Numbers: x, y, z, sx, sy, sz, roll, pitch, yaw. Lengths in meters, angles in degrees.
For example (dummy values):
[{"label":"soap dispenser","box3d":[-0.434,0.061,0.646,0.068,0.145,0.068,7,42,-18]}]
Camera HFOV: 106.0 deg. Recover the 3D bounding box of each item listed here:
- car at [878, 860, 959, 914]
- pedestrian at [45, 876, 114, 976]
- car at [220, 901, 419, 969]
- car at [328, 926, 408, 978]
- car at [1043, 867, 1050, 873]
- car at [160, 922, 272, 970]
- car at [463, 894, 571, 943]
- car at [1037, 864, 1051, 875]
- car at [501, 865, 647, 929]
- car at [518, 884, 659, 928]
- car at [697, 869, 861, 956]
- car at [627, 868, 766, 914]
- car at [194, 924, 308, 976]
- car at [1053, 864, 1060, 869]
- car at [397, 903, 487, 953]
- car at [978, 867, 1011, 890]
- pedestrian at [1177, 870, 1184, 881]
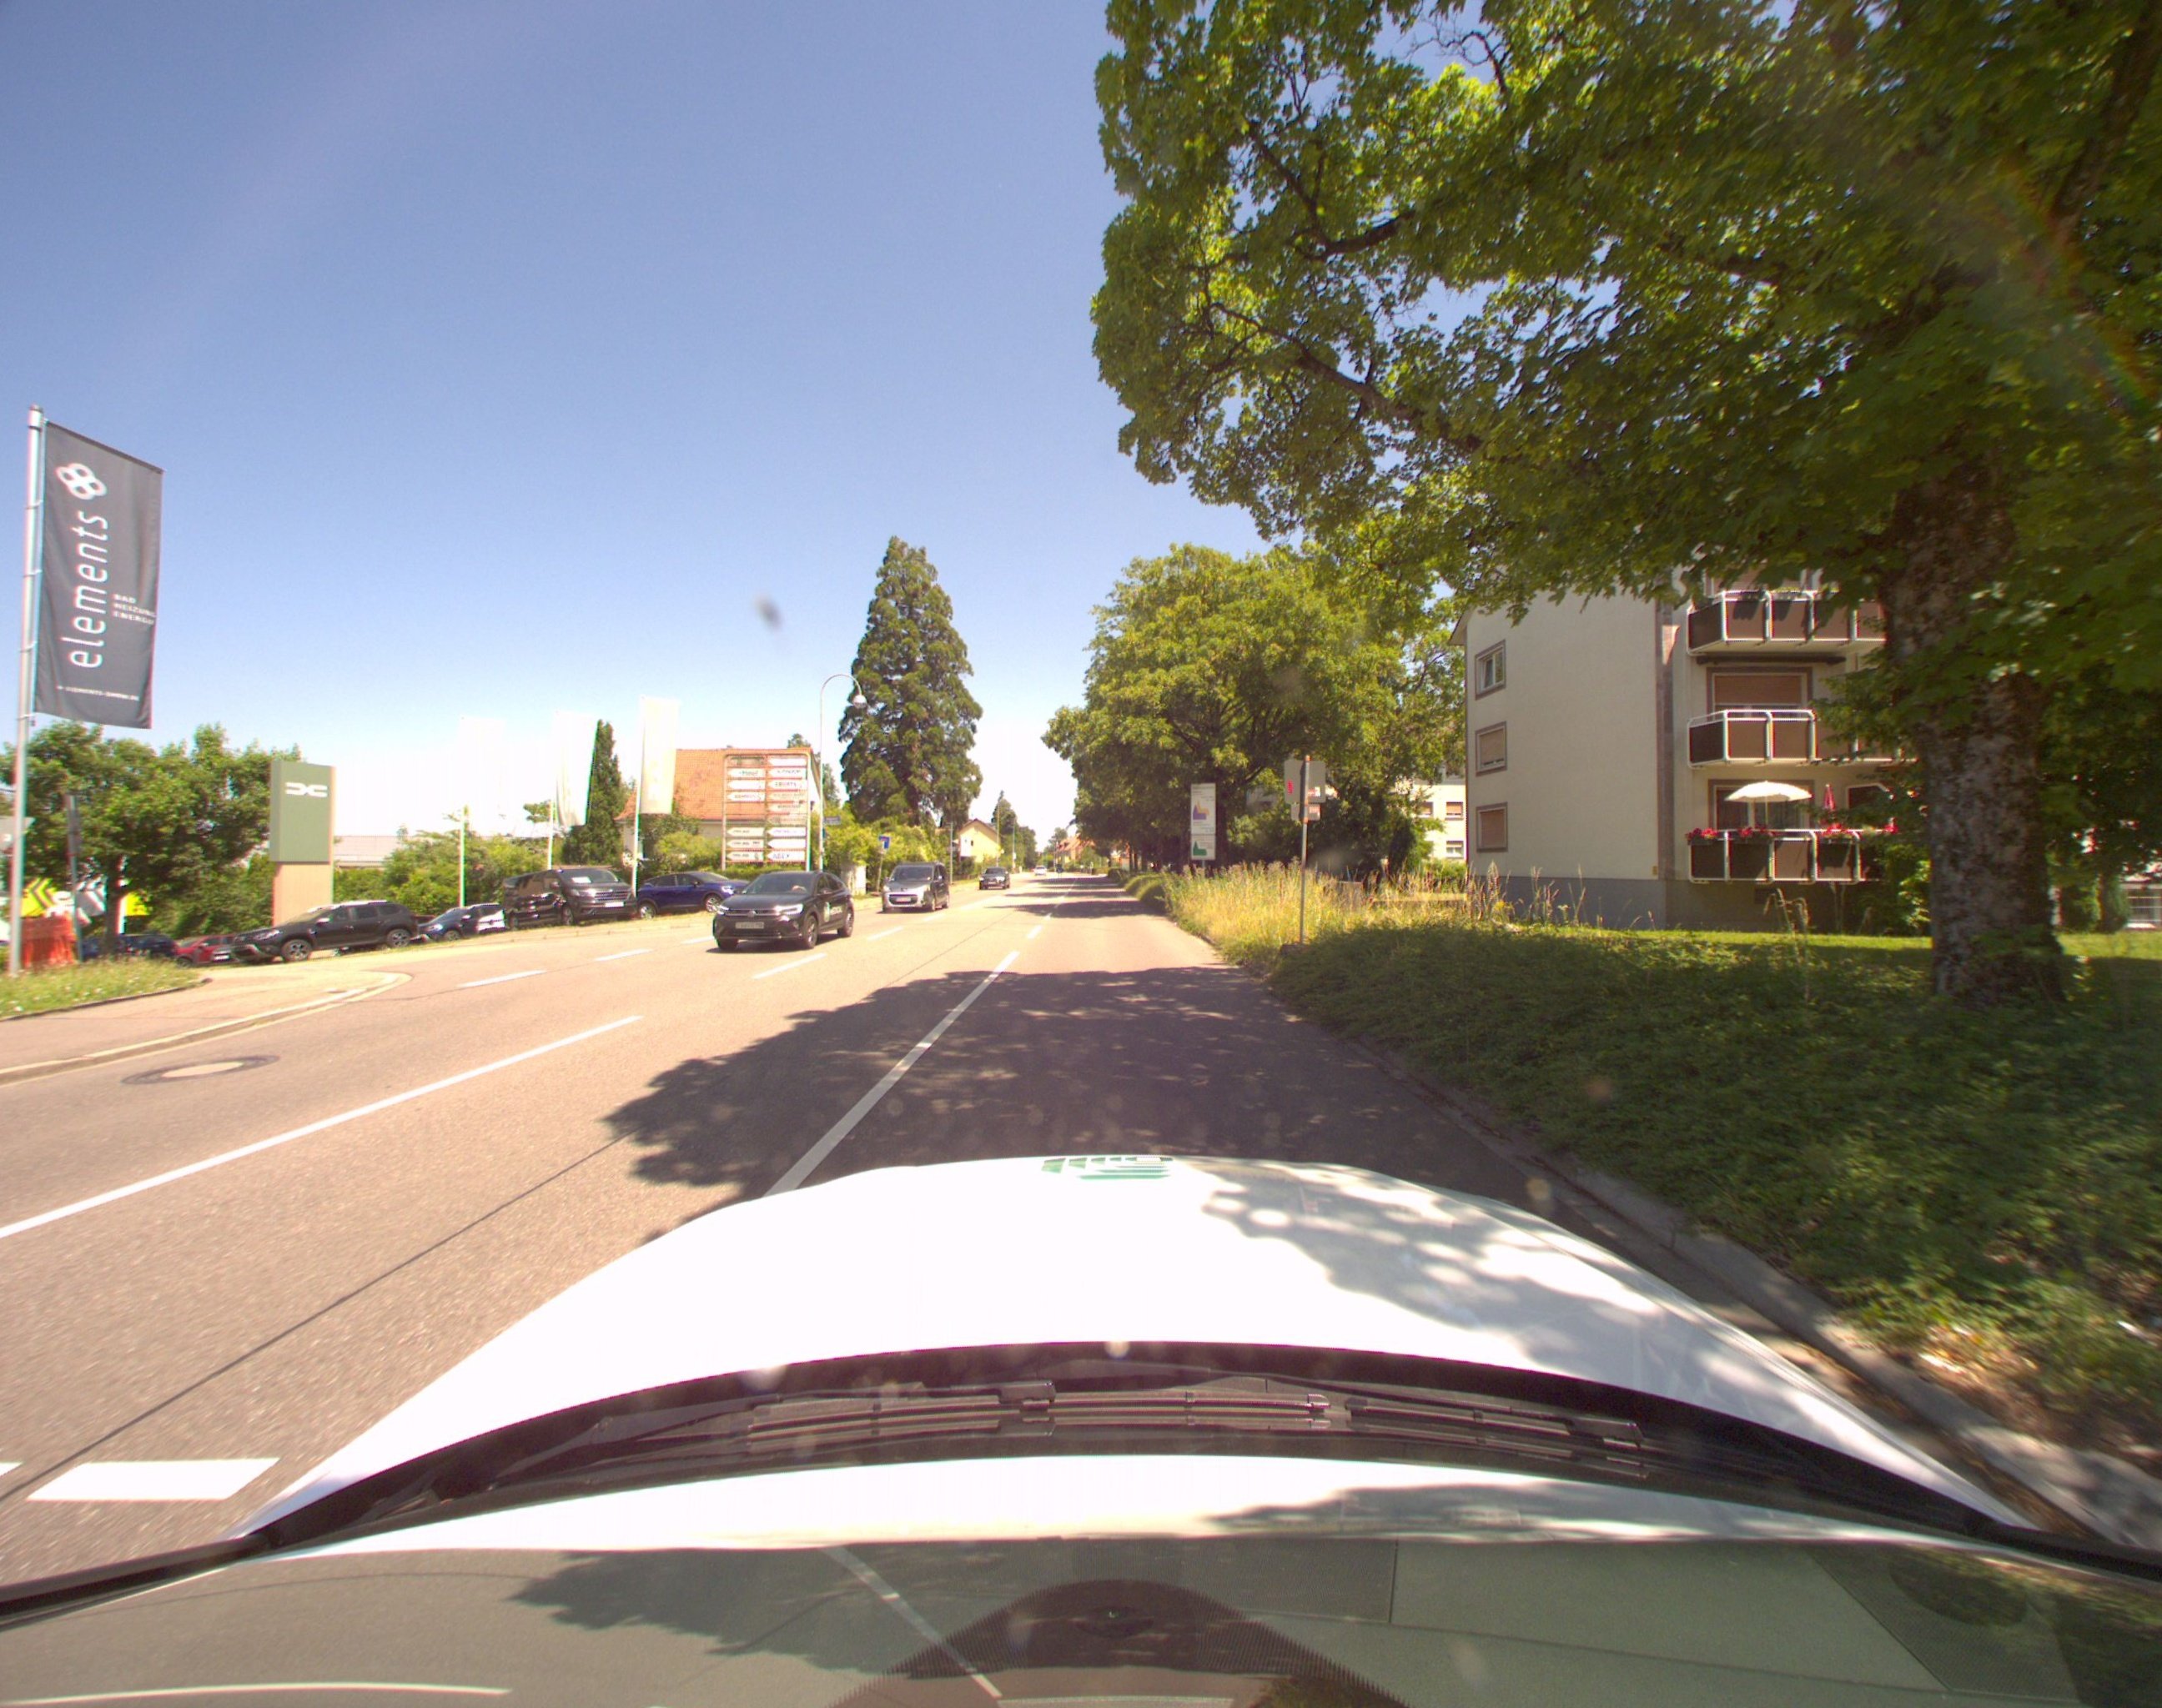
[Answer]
[{"label":"car","box3d":[-5.731,1.144,29.278,1.803,1.762,4.572,-1,-2,3]},{"label":"pedestrian","box3d":[-18.403,1.294,14.972,0.538,1.761,0.706,-2,-1,29]},{"label":"car","box3d":[-23.440,2.451,25.285,1.794,1.722,4.107,-3,-2,17]},{"label":"car","box3d":[-30.132,4.079,34.544,1.820,1.722,4.049,0,-1,-31]},{"label":"car","box3d":[-10.798,5.038,257.056,1.808,1.718,4.001,0,-1,1]},{"label":"car","box3d":[-38.773,4.075,36.647,1.815,1.722,4.060,0,-1,-21]},{"label":"car","box3d":[-22.719,2.548,33.025,1.806,1.722,4.081,0,-1,-5]},{"label":"car","box3d":[-5.917,2.471,130.353,1.906,1.689,4.124,-1,-1,0]},{"label":"car","box3d":[-16.221,1.342,26.036,4.400,1.727,2.077,-2,3,31]},{"label":"car","box3d":[-18.113,1.868,30.095,1.656,1.392,4.121,-1,-1,40]},{"label":"car","box3d":[-5.976,1.080,16.649,1.864,1.507,4.051,-1,-1,-1]},{"label":"car","box3d":[-13.361,1.261,28.367,4.107,1.504,1.783,-1,-1,12]},{"label":"car","box3d":[-35.272,4.022,34.756,1.815,1.722,4.060,0,-1,-21]},{"label":"car","box3d":[-7.697,3.986,257.196,1.808,1.718,4.001,0,-1,1]},{"label":"car","box3d":[-26.531,3.023,33.977,1.815,1.722,4.060,0,-1,-21]},{"label":"car","box3d":[-5.996,1.665,57.063,1.787,1.536,4.315,-1,-1,1]},{"label":"pedestrian","box3d":[10.690,2.282,87.617,0.701,1.160,0.755,0,-1,4]}]
